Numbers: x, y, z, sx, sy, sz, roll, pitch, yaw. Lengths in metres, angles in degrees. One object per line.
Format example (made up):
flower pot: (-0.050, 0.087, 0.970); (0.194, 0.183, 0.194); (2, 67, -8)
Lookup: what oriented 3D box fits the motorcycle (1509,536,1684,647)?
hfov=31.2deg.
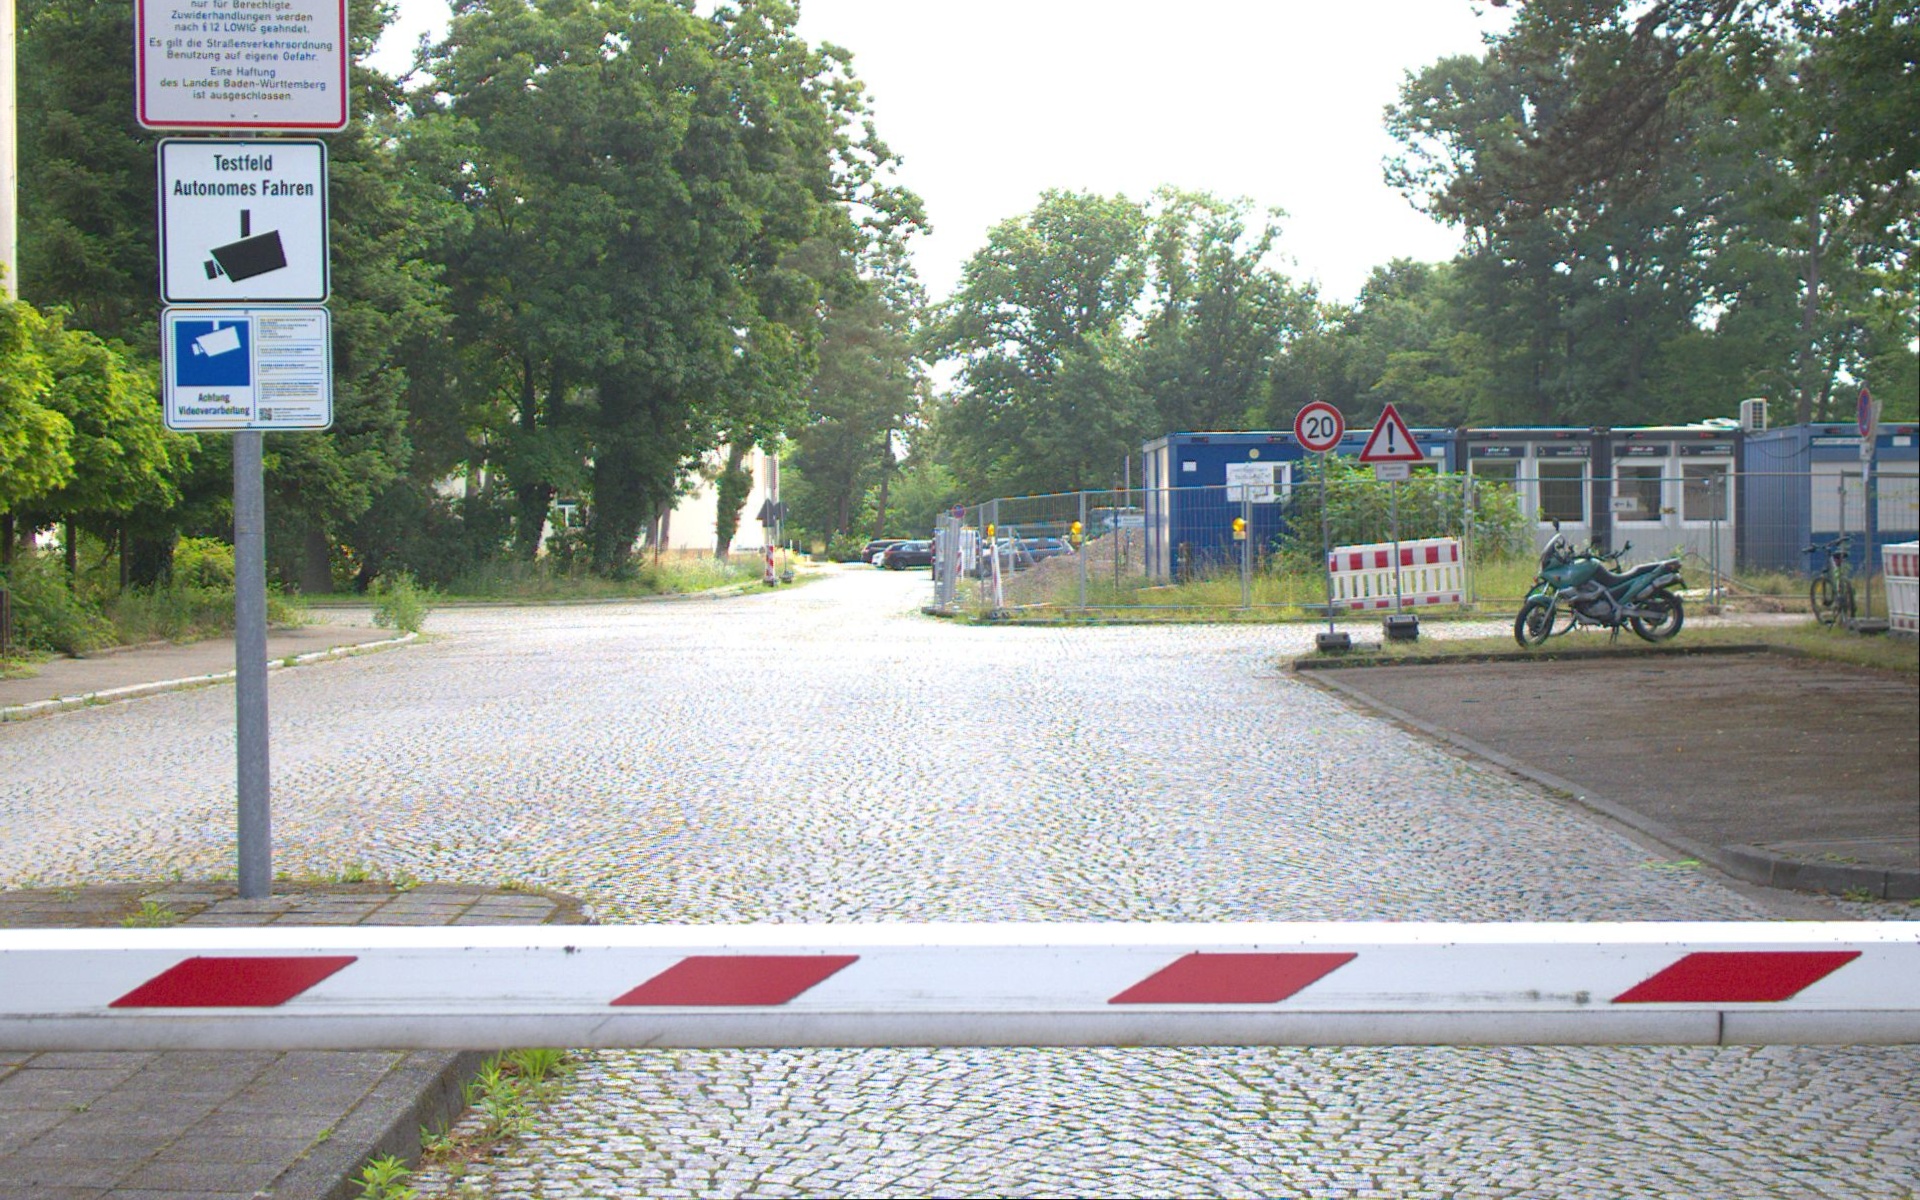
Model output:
motorcycle: (7.505, -0.105, 40.549); (1.956, 1.191, 0.461); (-2, 6, -1)

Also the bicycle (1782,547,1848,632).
bicycle: (10.461, -0.118, 42.100); (0.332, 1.004, 1.726); (-1, -1, -1)
